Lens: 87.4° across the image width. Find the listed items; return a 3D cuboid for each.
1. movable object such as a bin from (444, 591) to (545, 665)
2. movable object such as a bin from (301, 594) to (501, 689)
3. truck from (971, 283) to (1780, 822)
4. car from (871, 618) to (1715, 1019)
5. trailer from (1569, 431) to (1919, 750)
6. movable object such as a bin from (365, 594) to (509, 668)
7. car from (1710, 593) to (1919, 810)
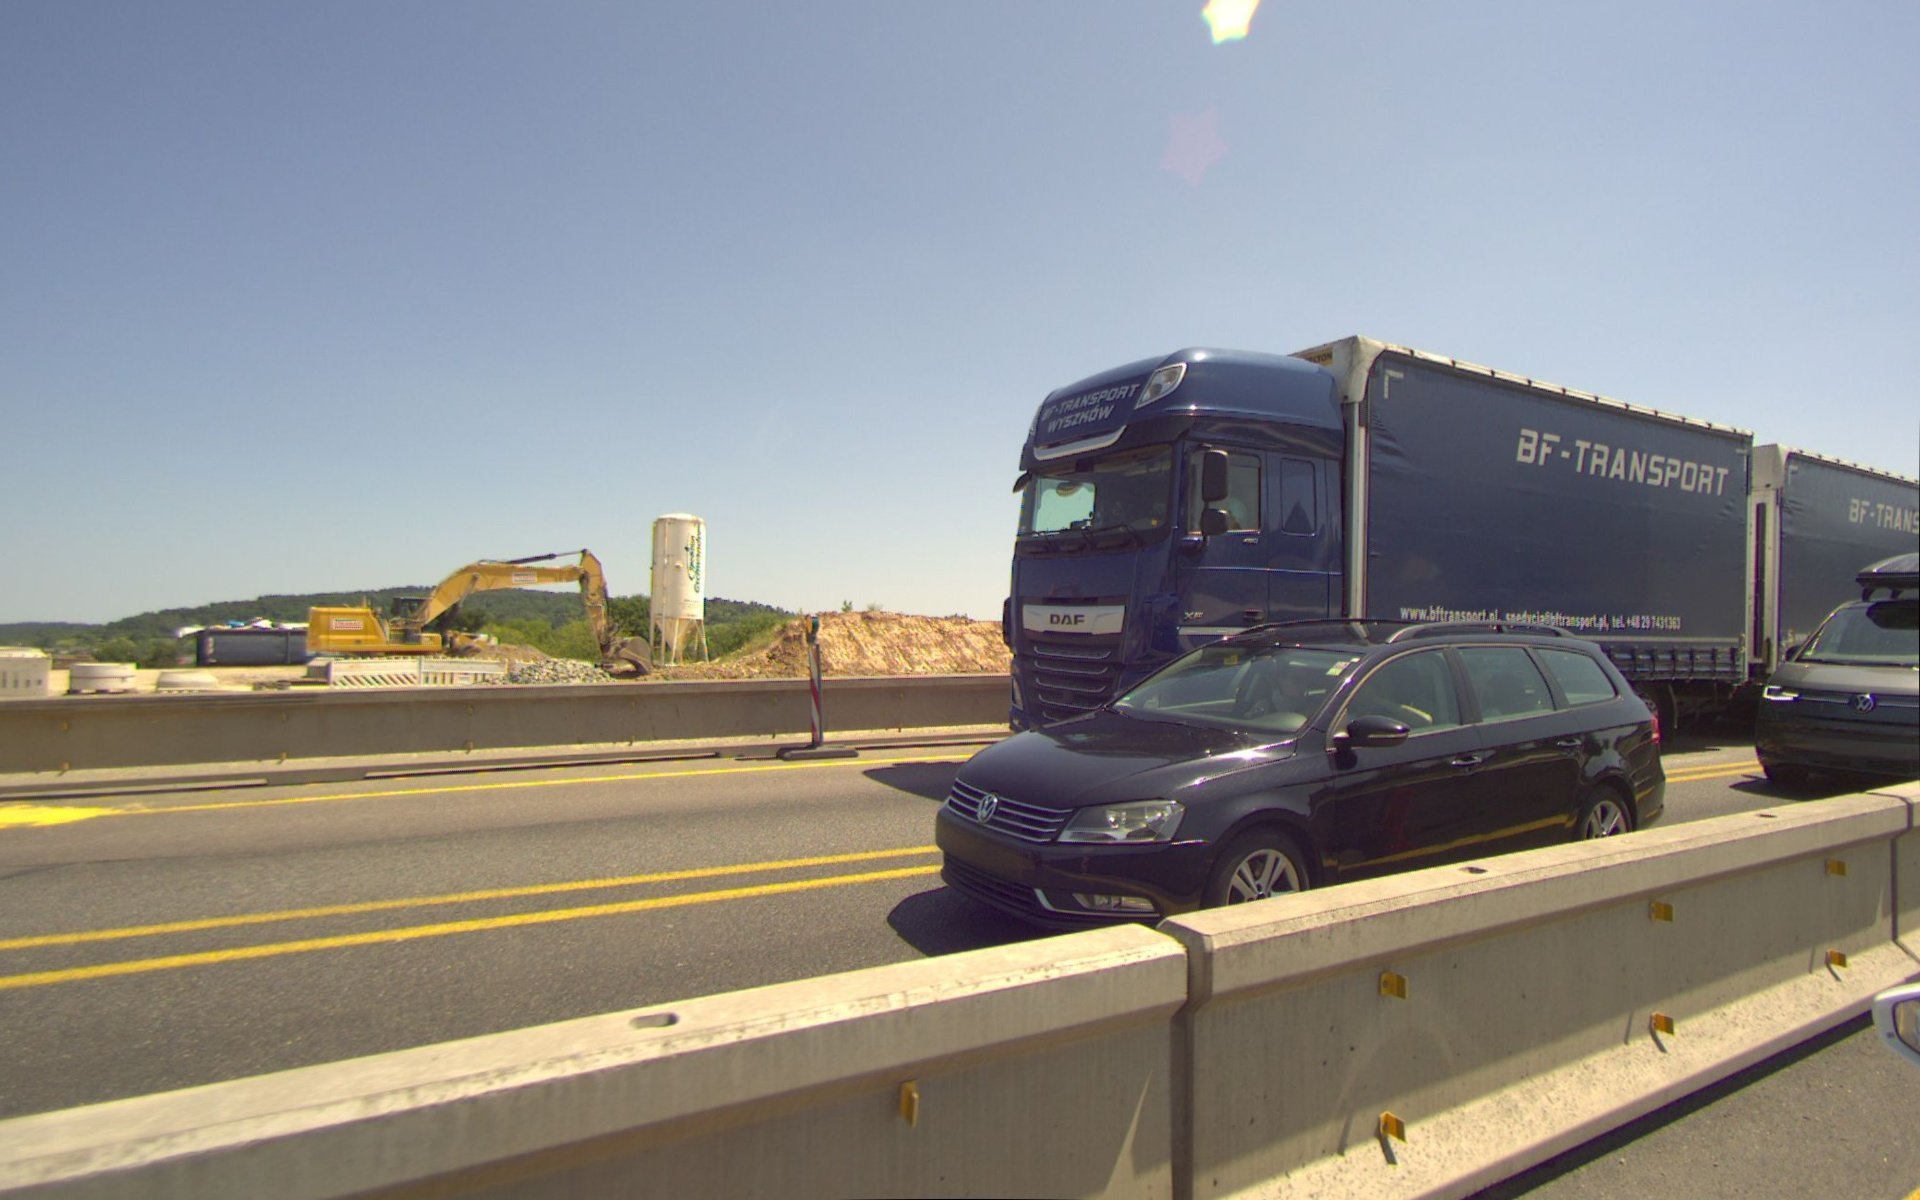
[{"bbox_3d":[-21.312,1.258,46.051,1.972,3.168,3.735,3,2,43],"label":"movable object such as a bin"},{"bbox_3d":[-19.952,1.440,35.961,5.948,3.090,3.822,0,-2,-32],"label":"movable object such as a bin"},{"bbox_3d":[5.446,-0.219,11.698,10.741,4.192,2.760,2,-2,-30],"label":"truck"},{"bbox_3d":[2.027,0.894,5.614,4.738,1.465,1.728,2,-1,-29],"label":"car"},{"bbox_3d":[13.580,-0.001,16.475,8.091,4.192,2.723,2,-2,-31],"label":"trailer"},{"bbox_3d":[-24.315,1.372,46.857,2.395,3.168,5.450,3,2,43],"label":"movable object such as a bin"},{"bbox_3d":[9.877,0.914,10.041,5.006,1.800,2.036,2,-2,-30],"label":"car"}]
